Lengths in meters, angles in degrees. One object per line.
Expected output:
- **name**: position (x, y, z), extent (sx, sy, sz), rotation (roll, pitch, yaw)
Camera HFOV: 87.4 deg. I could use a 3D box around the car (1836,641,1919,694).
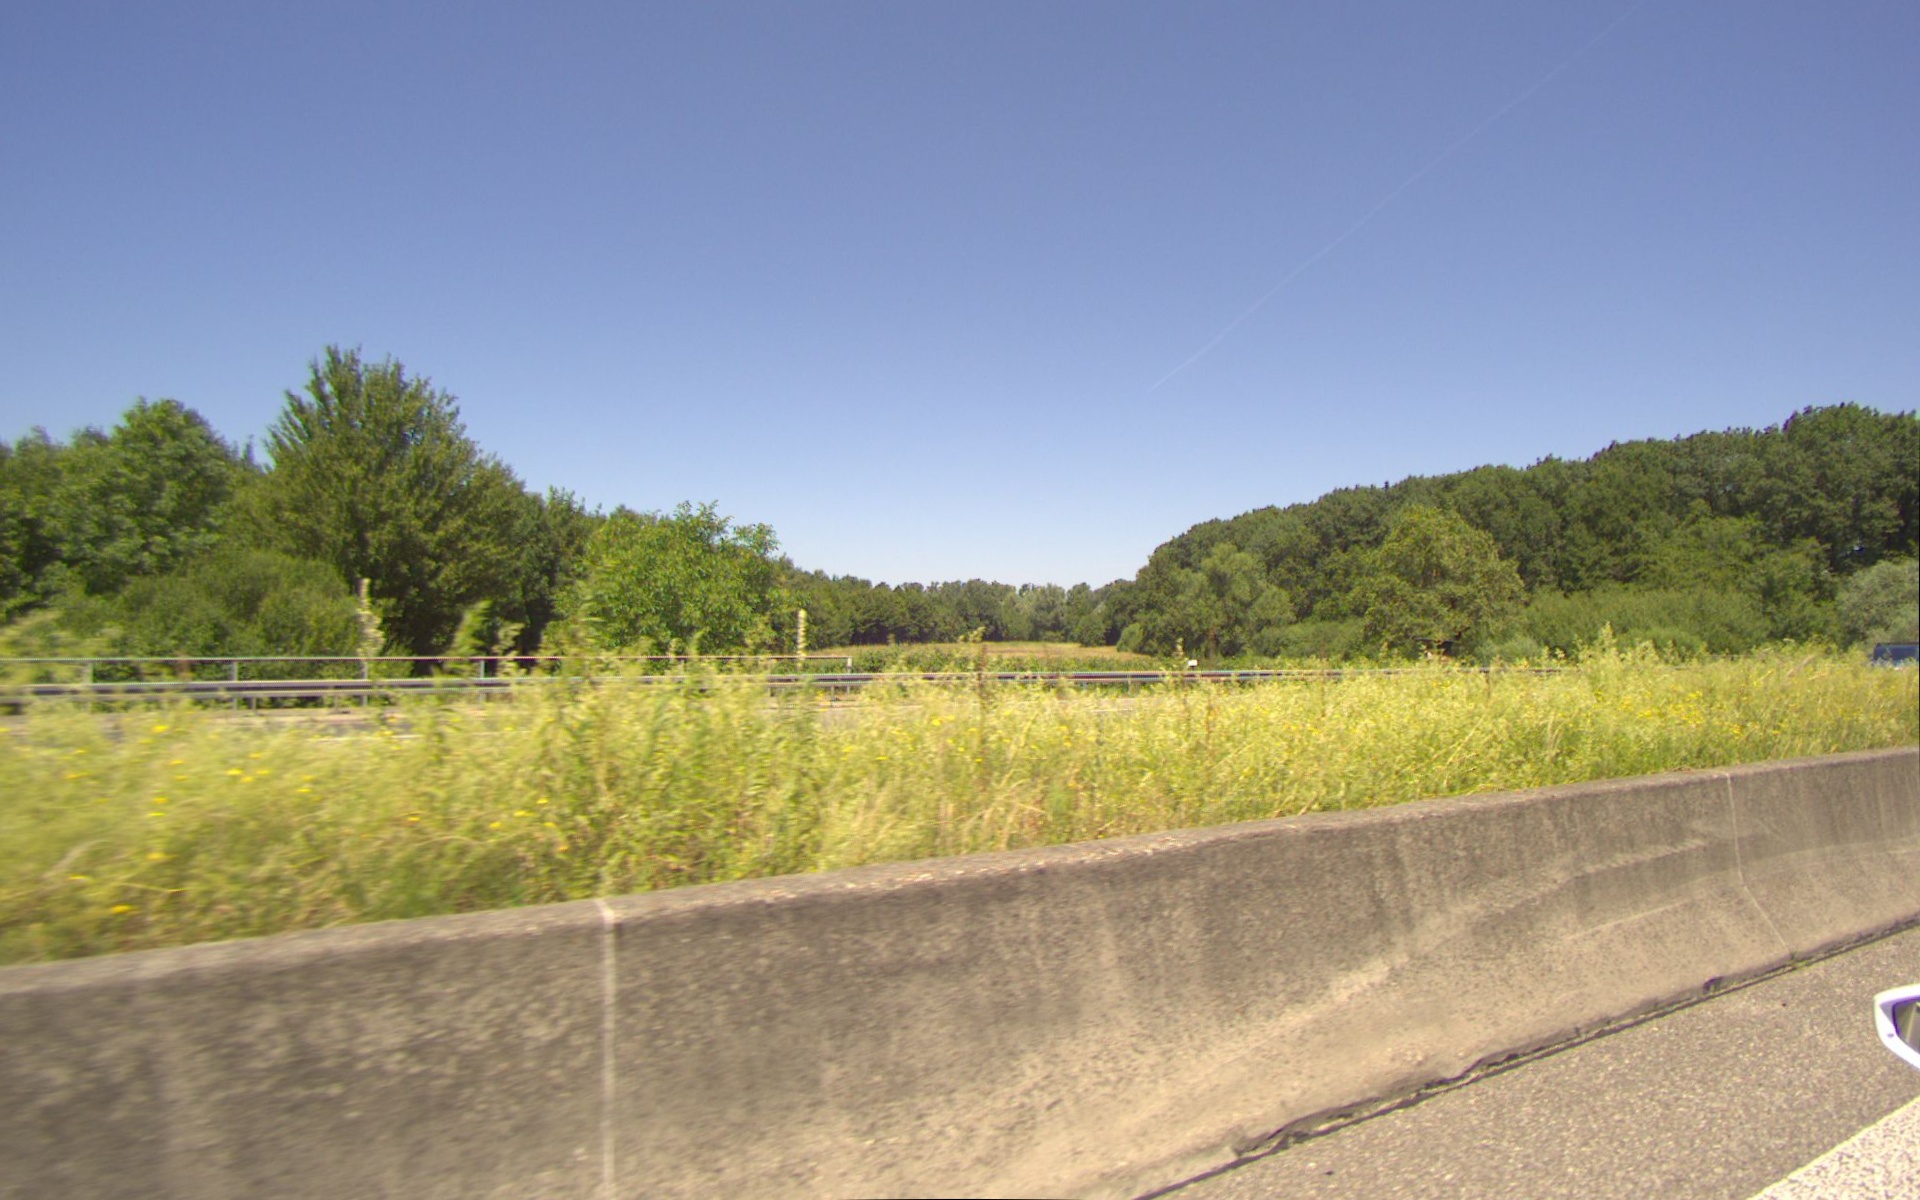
- **car**: position (31.727, 2.264, 34.048), extent (4.122, 1.674, 1.815), rotation (2, -3, -30)
